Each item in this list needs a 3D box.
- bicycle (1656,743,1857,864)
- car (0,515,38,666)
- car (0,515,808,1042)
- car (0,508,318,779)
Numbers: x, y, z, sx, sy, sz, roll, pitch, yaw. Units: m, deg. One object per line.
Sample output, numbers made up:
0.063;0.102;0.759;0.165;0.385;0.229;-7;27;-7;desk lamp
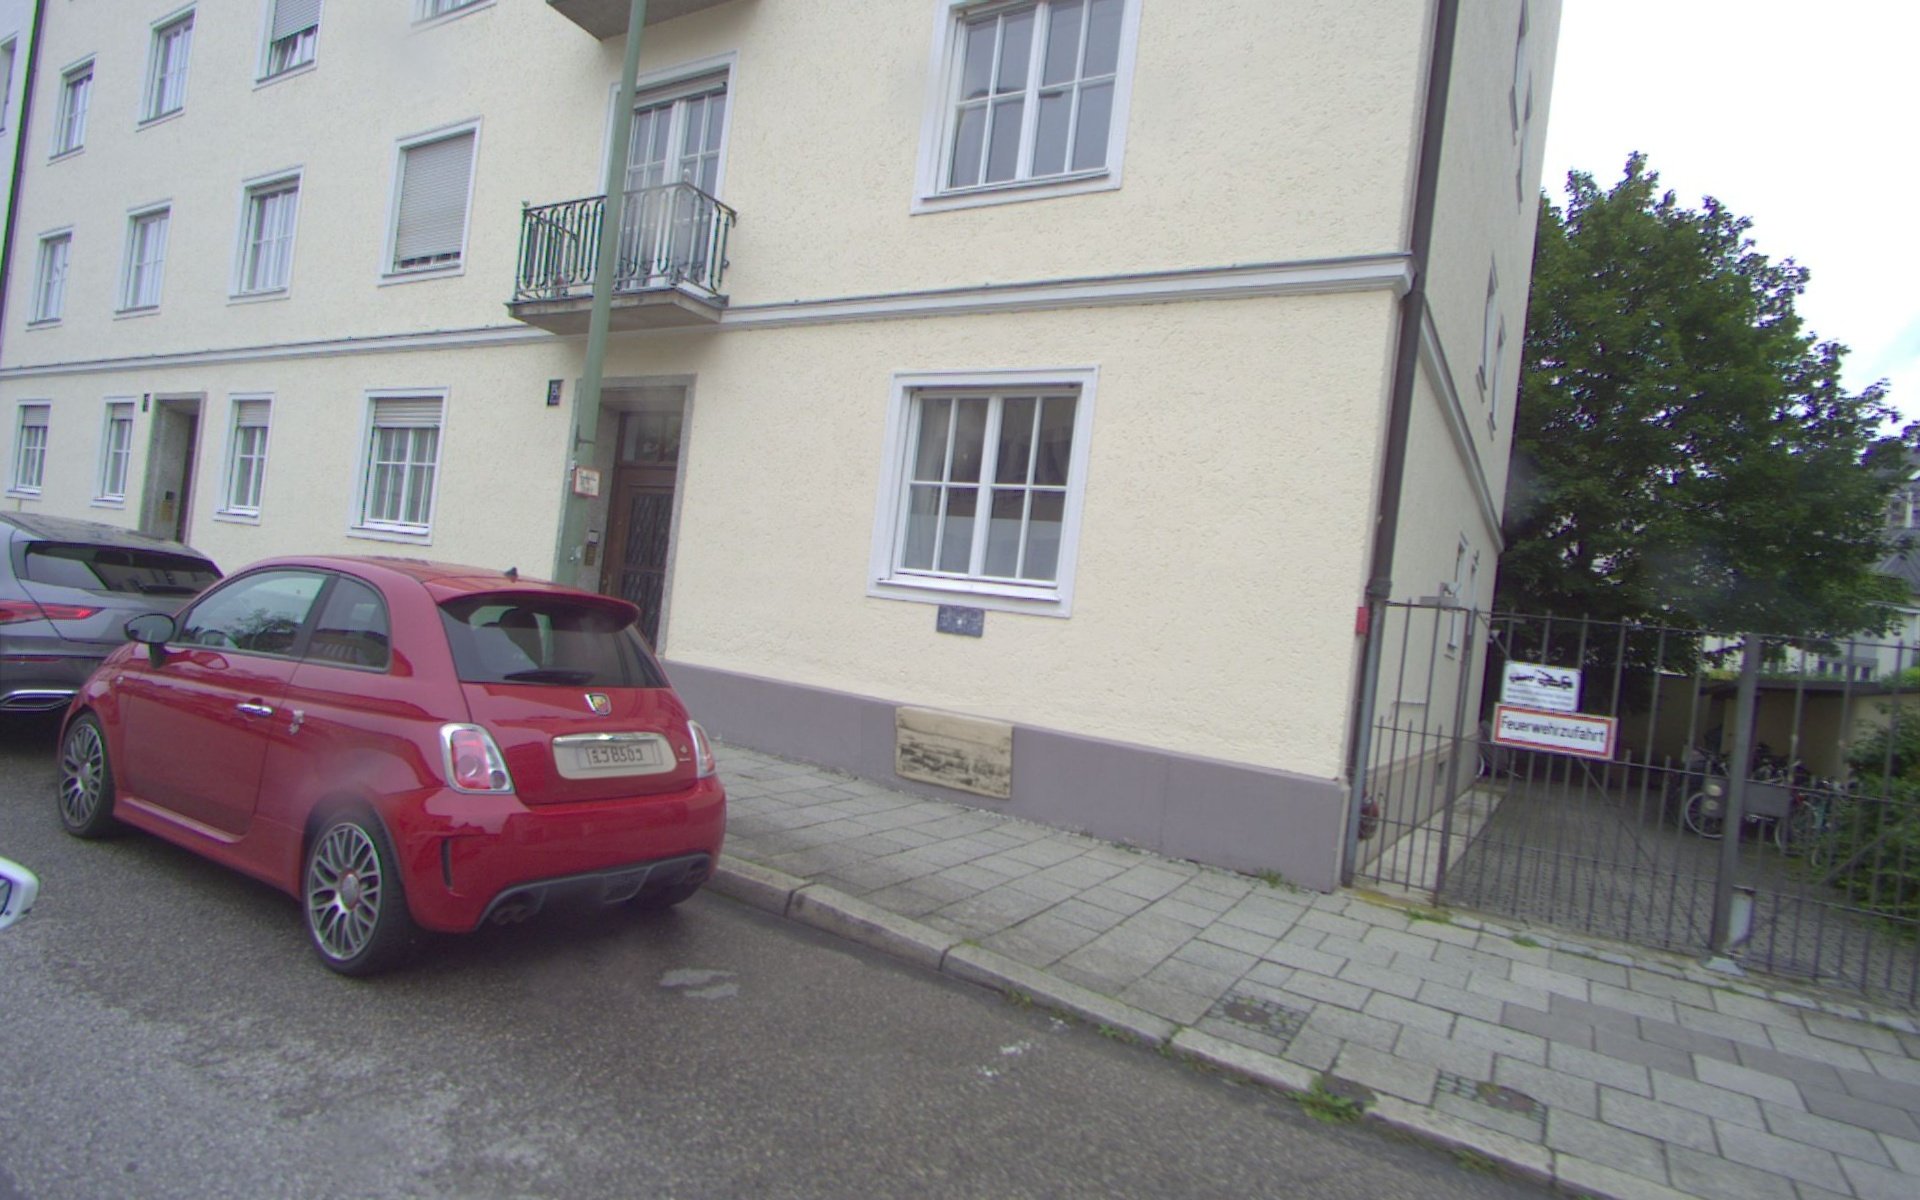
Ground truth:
11.078;2.797;14.111;1.990;1.238;0.882;7;-2;31;bicycle
-11.538;-0.389;10.379;4.221;1.446;1.729;8;-2;31;car
-2.788;0.579;4.883;3.693;1.446;1.659;8;-2;31;car
-6.931;0.106;7.381;4.537;1.446;1.777;8;-2;31;car
